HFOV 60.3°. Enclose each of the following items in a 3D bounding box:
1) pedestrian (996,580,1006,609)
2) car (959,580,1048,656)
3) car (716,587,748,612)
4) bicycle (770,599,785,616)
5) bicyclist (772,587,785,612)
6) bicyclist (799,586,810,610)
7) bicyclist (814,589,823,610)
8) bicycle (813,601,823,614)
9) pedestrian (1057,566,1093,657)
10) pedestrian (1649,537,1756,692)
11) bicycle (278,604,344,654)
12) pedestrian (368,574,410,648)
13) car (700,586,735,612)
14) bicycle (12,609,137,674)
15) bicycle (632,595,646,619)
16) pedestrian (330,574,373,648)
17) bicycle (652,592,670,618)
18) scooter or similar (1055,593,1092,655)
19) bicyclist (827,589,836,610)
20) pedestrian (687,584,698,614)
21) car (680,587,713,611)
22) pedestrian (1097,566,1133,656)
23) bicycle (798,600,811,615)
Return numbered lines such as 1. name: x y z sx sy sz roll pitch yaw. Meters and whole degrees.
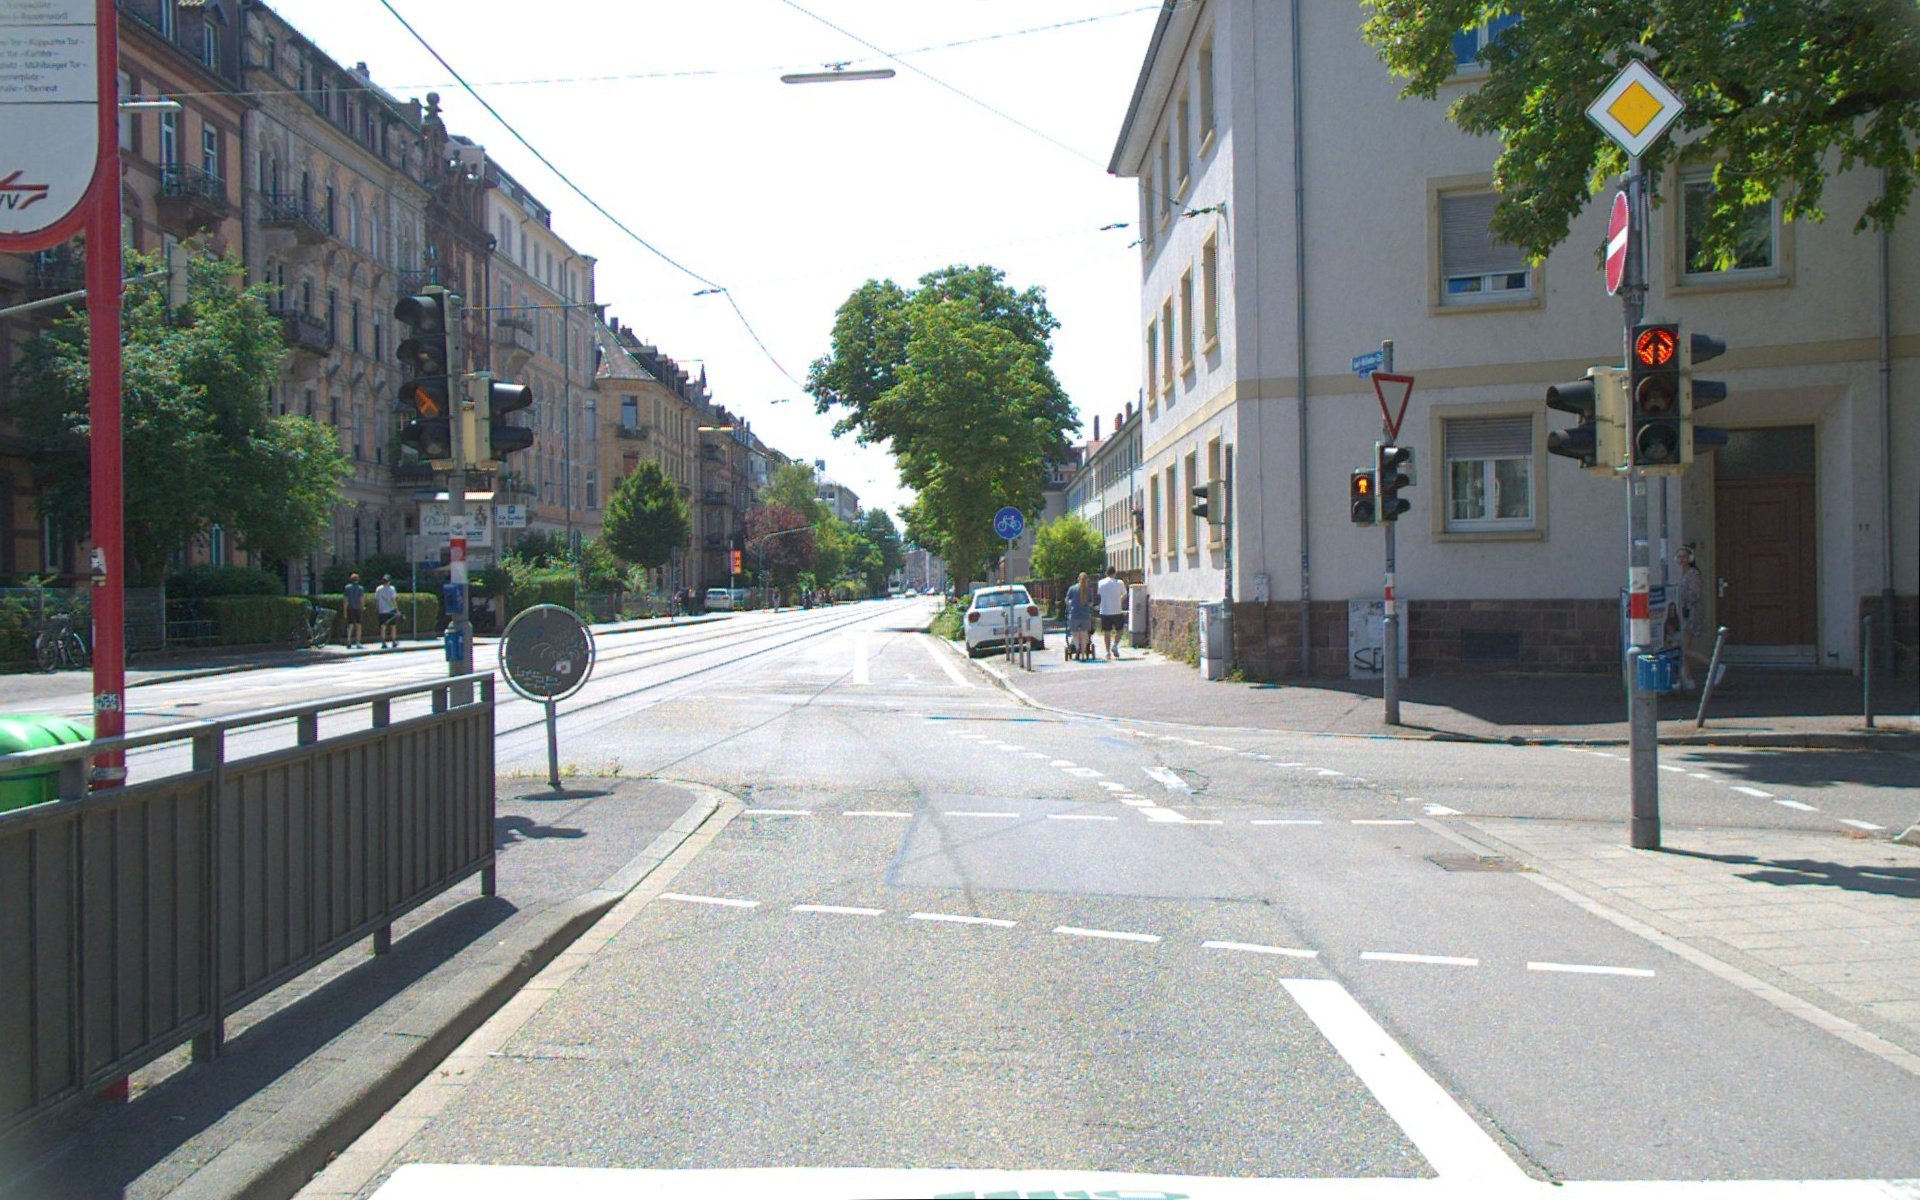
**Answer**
1. pedestrian: 2.227 -0.304 90.418 0.511 1.590 0.573 -1 0 -1
2. car: 0.932 0.396 37.328 1.778 1.542 3.999 -3 0 -1
3. car: -17.040 -0.032 123.575 1.880 1.745 3.999 1 0 -1
4. bicycle: -12.253 0.519 110.908 0.712 1.142 2.085 1 0 1
5. bicyclist: -12.153 -0.012 110.908 0.712 1.657 1.079 1 0 1
6. bicyclist: -11.715 -0.133 124.749 0.712 1.799 1.079 1 0 1
7. bicyclist: -12.608 -0.039 147.469 0.712 1.850 1.079 1 0 1
8. bicycle: -12.642 0.642 147.474 0.712 1.142 2.085 1 0 1
9. pedestrian: 2.149 0.221 30.959 0.546 1.674 0.676 1 -1 -4
10. pedestrian: 8.840 0.169 19.709 1.033 1.719 0.653 -4 3 24
11. bicycle: -15.874 0.697 40.517 0.920 1.156 2.767 1 0 -9
12. pedestrian: -14.564 0.279 42.216 0.800 1.854 0.873 1 1 -4
13. car: -16.872 -0.063 115.314 1.880 1.745 3.999 1 0 -1
14. bicycle: -16.709 0.757 31.306 0.918 1.156 2.773 1 0 -2
15. bicycle: -15.496 0.329 79.789 0.665 1.083 1.913 -1 0 -12
16. pedestrian: -15.440 0.272 41.982 0.800 1.854 0.873 1 1 -4
17. bicycle: -15.273 0.243 84.437 0.664 1.301 1.917 -1 0 -4
18. scooter or similar: 2.196 0.459 31.869 0.545 1.175 1.206 1 0 11
19. bicyclist: -11.462 -0.063 147.530 0.712 1.850 1.079 1 0 1
20. pedestrian: -14.996 -0.047 92.599 0.510 1.688 0.529 -1 0 -1
21. car: -19.672 -0.077 123.609 1.880 1.745 3.999 1 0 -1
22. pedestrian: 2.919 0.207 31.243 0.546 1.674 0.676 1 -1 -4
23. bicycle: -11.734 0.561 124.648 0.712 1.142 2.085 1 0 1
